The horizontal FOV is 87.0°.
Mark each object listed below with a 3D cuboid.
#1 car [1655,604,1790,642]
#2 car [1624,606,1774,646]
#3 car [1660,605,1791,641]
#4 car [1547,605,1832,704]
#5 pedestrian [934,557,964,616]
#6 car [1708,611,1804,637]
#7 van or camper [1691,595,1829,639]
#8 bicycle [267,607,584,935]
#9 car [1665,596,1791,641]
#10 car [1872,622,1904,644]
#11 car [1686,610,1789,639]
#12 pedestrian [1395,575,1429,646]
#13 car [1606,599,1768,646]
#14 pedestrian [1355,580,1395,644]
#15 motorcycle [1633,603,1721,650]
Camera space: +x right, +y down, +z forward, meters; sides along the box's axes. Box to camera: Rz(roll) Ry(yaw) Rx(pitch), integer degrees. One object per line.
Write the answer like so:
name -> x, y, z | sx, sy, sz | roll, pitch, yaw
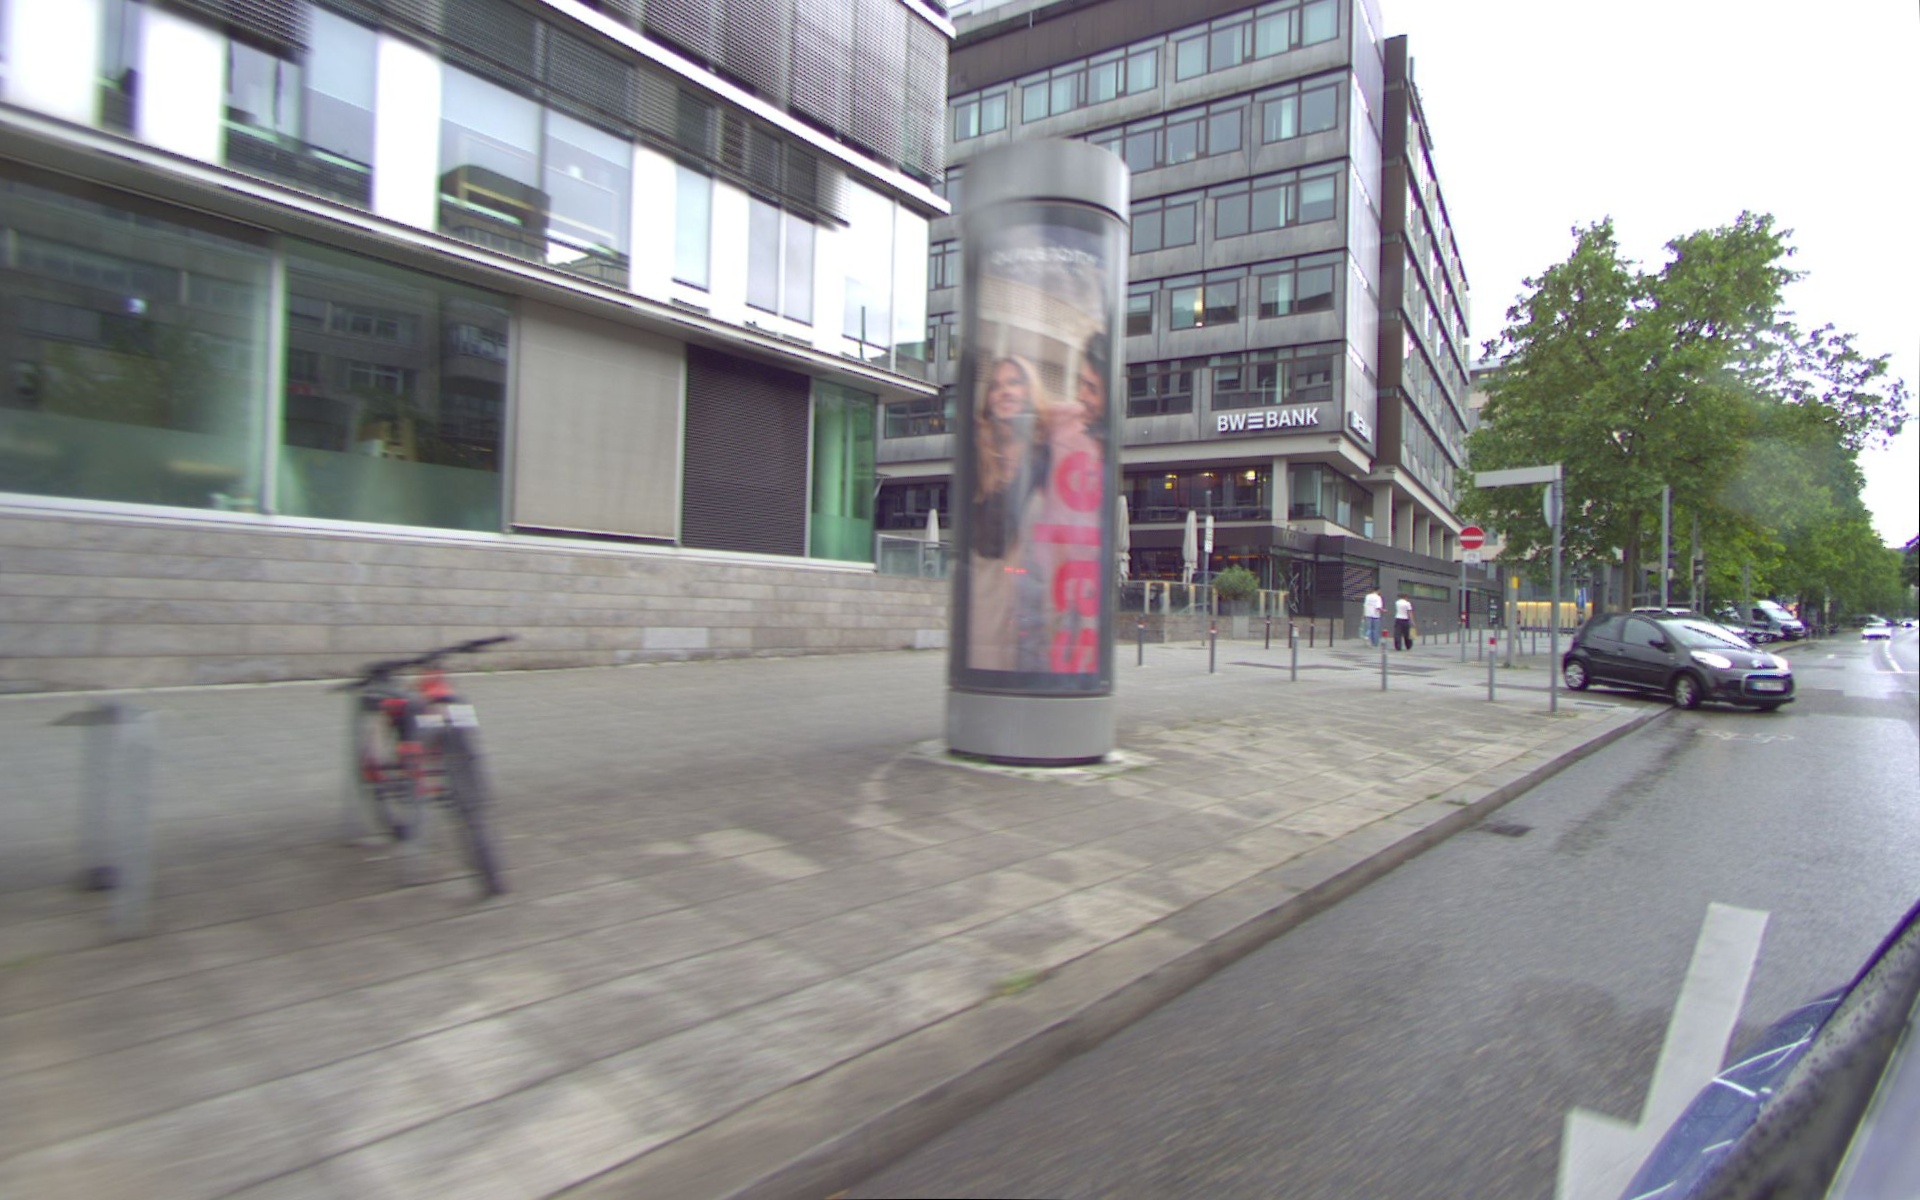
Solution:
car -> 32.987, 0.979, 43.923 | 1.876, 1.557, 4.366 | 1, -1, -20
car -> 29.545, 1.012, 40.655 | 1.876, 1.493, 4.732 | 1, -1, -15
car -> 34.723, 1.004, 46.054 | 1.876, 1.557, 4.399 | 1, -1, -20
car -> 11.901, 0.821, 16.857 | 1.602, 1.435, 3.840 | 1, 0, -9
pedestrian -> -0.344, -0.409, 32.273 | 0.649, 1.846, 0.671 | -1, -2, 42
car -> 45.505, 1.353, 57.972 | 1.672, 1.442, 4.069 | 1, -1, -18
van or camper -> 47.800, 1.016, 60.713 | 2.266, 2.478, 6.278 | 1, -1, -17
bicycle -> -2.529, 0.626, 4.652 | 0.794, 1.118, 1.986 | 1, 1, -43
car -> 36.519, 0.869, 48.265 | 1.881, 2.018, 4.527 | 1, -1, -18
car -> 79.978, 2.813, 87.290 | 1.783, 1.768, 4.509 | 1, 0, 40
car -> 40.465, 1.251, 52.771 | 1.672, 1.442, 4.021 | 1, -1, -18
pedestrian -> 13.513, 0.315, 30.274 | 0.845, 2.065, 0.745 | 0, -1, 31
car -> 27.410, 0.824, 38.388 | 1.876, 1.671, 4.814 | 1, -1, -17
pedestrian -> 12.625, 0.368, 30.792 | 0.882, 1.892, 0.802 | 1, -1, -40
motorcycle -> 21.708, 0.773, 30.680 | 0.665, 1.375, 2.087 | 1, -1, -39
